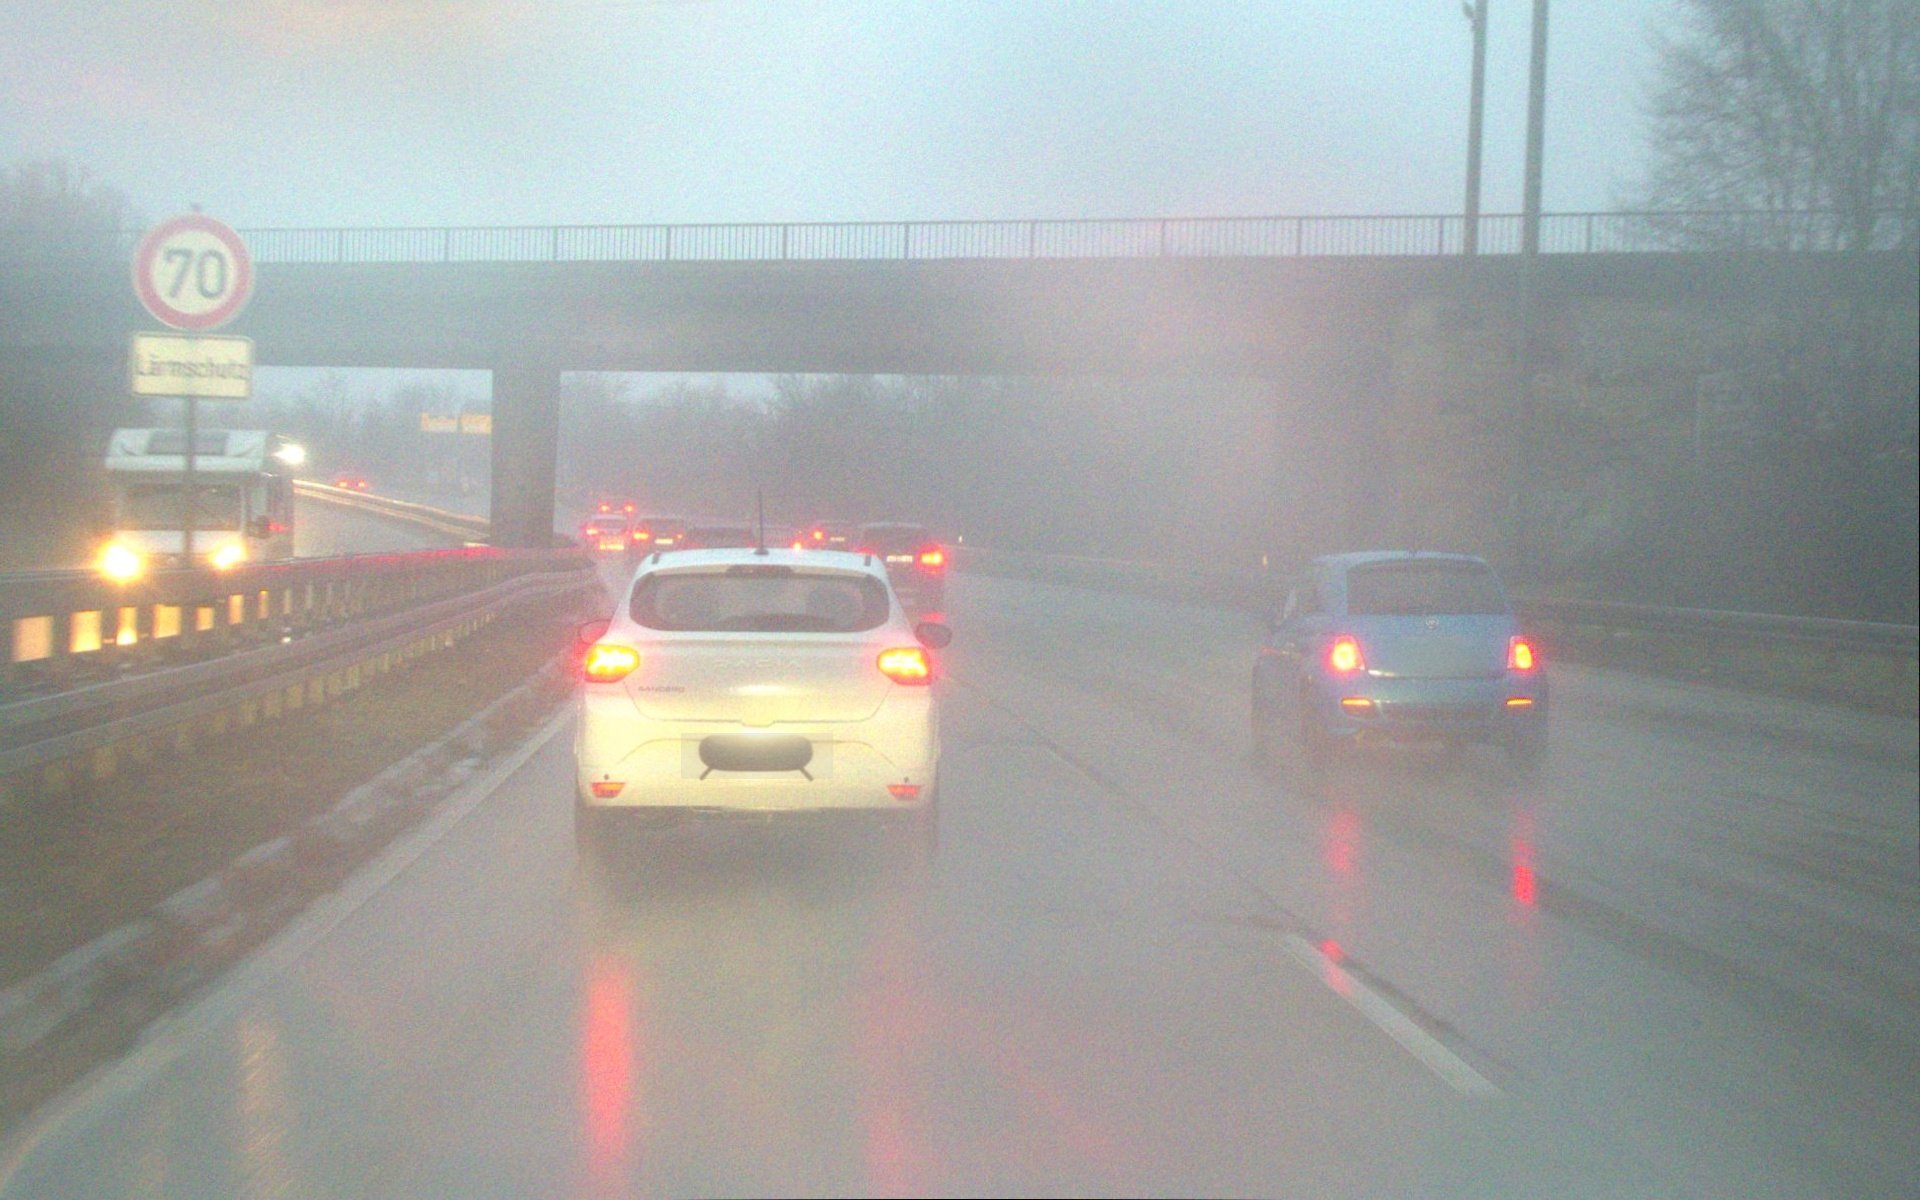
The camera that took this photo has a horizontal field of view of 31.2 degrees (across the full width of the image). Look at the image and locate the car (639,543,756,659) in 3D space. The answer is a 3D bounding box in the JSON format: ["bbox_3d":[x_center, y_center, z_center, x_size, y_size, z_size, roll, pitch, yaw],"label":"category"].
[{"bbox_3d":[-4.871,0.013,63.379,1.993,2.007,4.001,2,0,-6],"label":"car"}]

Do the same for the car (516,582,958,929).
[{"bbox_3d":[-1.146,0.728,18.110,2.024,1.569,4.000,2,0,-3],"label":"car"}]

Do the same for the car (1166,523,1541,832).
[{"bbox_3d":[2.746,0.516,24.850,1.932,2.012,3.774,2,0,-5],"label":"car"}]

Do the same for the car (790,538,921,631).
[{"bbox_3d":[-2.059,-0.286,66.807,1.932,1.541,3.774,-4,-1,-10],"label":"car"}]
